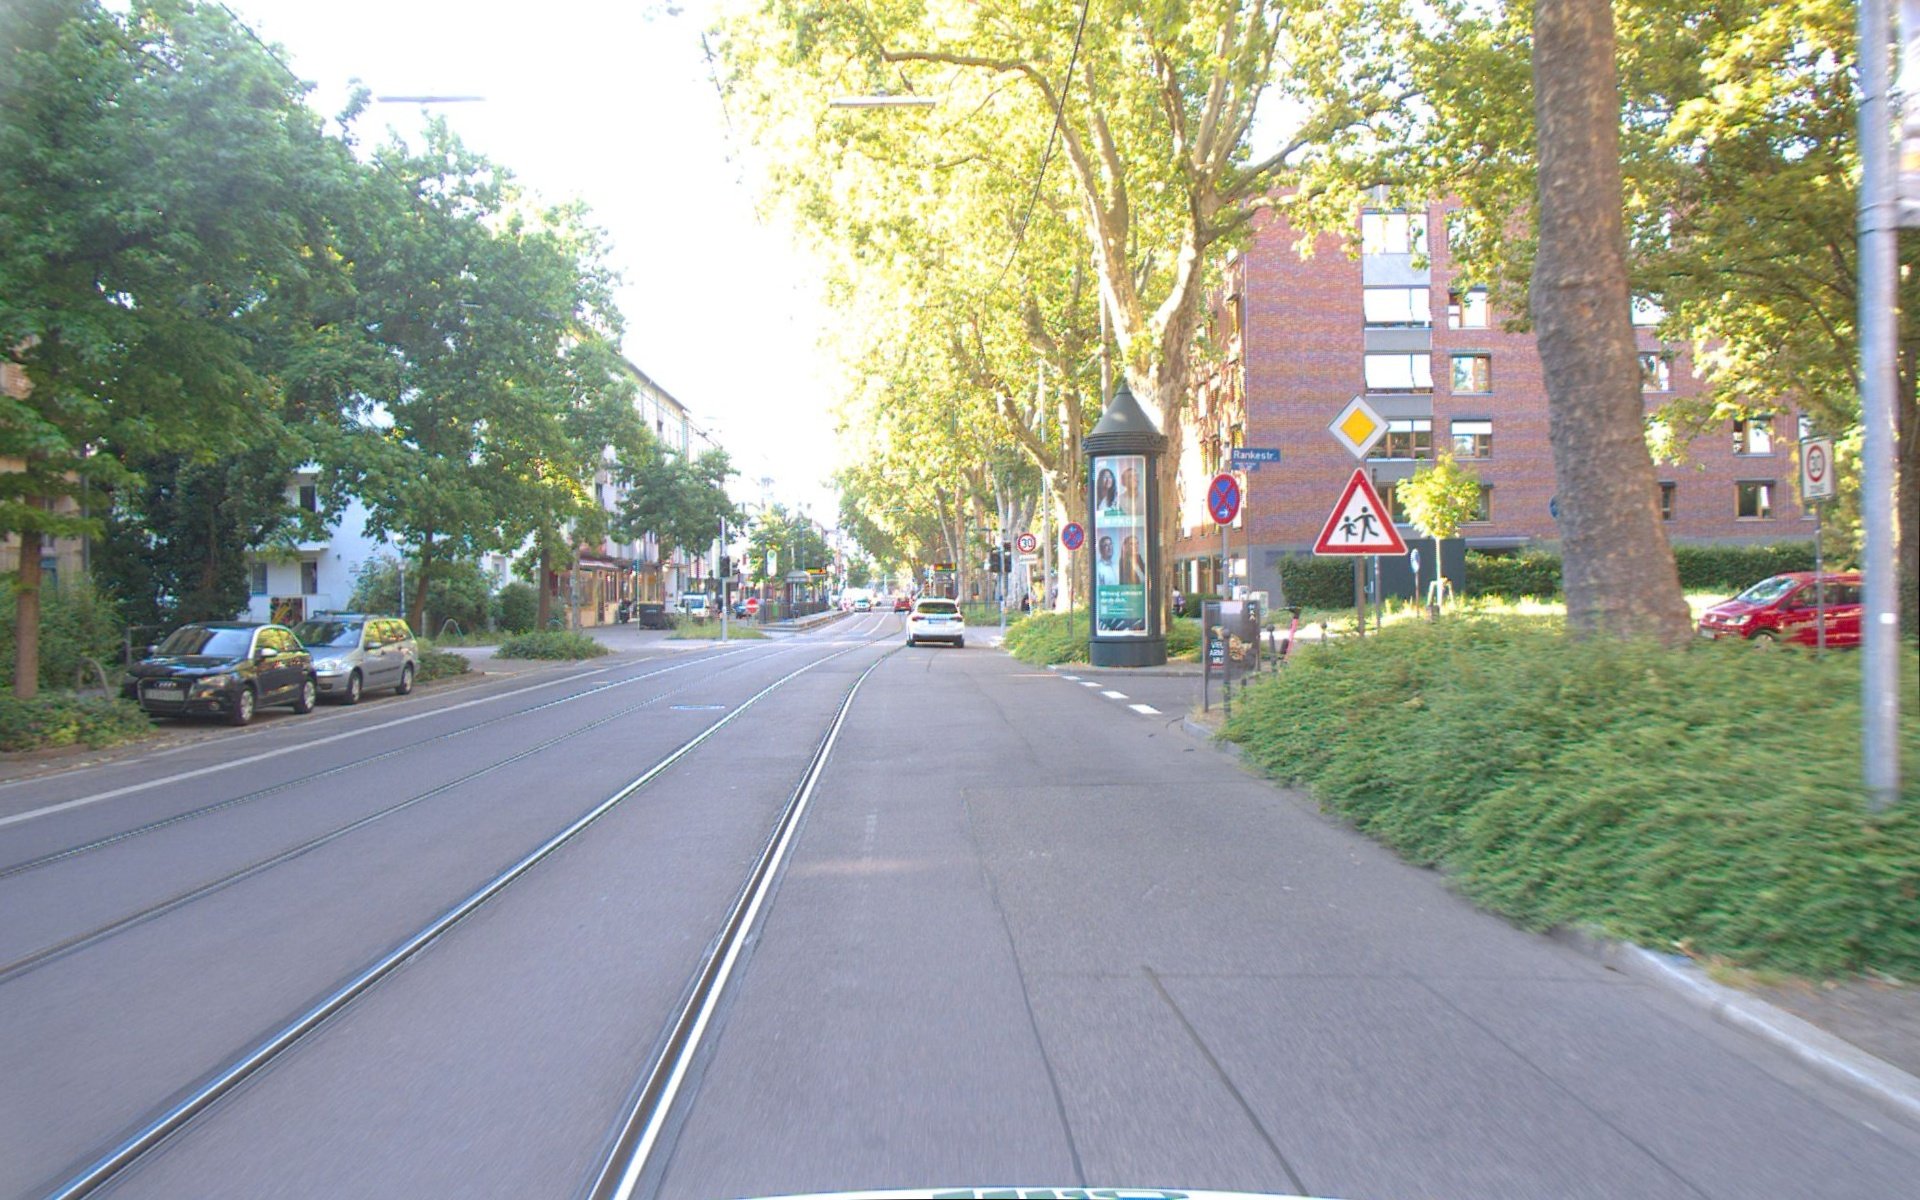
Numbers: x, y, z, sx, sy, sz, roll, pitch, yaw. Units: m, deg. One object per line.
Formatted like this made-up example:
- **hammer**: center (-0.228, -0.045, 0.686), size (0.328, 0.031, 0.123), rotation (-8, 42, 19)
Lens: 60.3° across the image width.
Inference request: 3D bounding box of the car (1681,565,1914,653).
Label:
- **car**: center (15.464, 0.150, 30.647), size (3.468, 1.477, 1.682), rotation (-2, 0, -5)

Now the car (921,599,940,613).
- **car**: center (-3.145, 0.642, 176.500), size (1.953, 1.478, 3.998), rotation (-1, 0, -2)

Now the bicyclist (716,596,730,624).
- **bicyclist**: center (-12.731, 0.515, 88.827), size (0.628, 1.480, 0.836), rotation (-2, 0, -3)

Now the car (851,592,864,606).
- **car**: center (-15.076, -0.118, 243.079), size (1.828, 1.925, 3.998), rotation (-1, 0, -2)

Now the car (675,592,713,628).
- **car**: center (-15.248, 0.557, 94.908), size (1.654, 1.974, 3.998), rotation (-1, 0, -2)

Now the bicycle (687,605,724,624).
- **bicycle**: center (-16.015, 0.908, 104.201), size (2.207, 1.093, 0.636), rotation (2, 0, -1)

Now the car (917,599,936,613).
- **car**: center (-3.653, 0.657, 181.565), size (1.953, 1.478, 3.998), rotation (-1, 0, -2)

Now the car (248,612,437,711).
- **car**: center (-11.063, 1.044, 29.991), size (1.664, 1.577, 4.536), rotation (-1, 0, 1)

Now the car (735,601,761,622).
- **car**: center (-16.233, 0.867, 126.786), size (1.561, 1.575, 3.998), rotation (1, 0, -2)

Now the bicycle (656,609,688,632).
- **bicycle**: center (-14.551, 1.047, 83.605), size (1.503, 1.094, 0.885), rotation (2, 0, -3)

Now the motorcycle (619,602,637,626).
- **motorcycle**: center (-18.760, 0.787, 93.524), size (0.587, 1.334, 2.221), rotation (-1, 0, -2)

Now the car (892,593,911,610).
- **car**: center (-5.422, 0.128, 153.524), size (1.752, 1.540, 3.998), rotation (-1, 0, -2)

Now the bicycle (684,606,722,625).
- **bicycle**: center (-15.639, 0.926, 100.714), size (2.207, 1.093, 0.636), rotation (2, 0, -1)

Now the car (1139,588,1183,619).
- **car**: center (10.156, 0.168, 83.792), size (1.569, 1.521, 3.414), rotation (-1, 0, -4)

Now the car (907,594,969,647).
- **car**: center (-0.719, 0.599, 50.918), size (1.752, 1.540, 3.998), rotation (-1, 0, -2)

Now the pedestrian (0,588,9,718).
- **pedestrian**: center (-14.263, 0.770, 23.826), size (0.727, 1.879, 0.728), rotation (0, 0, -4)

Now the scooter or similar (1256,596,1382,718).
- **scooter or similar**: center (3.878, 0.610, 17.905), size (1.184, 1.261, 0.569), rotation (-2, -1, -4)

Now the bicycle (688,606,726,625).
- **bicycle**: center (-15.659, 0.940, 102.361), size (2.207, 1.093, 0.636), rotation (2, 0, -1)

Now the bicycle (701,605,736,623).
- **bicycle**: center (-16.013, 0.946, 109.624), size (2.207, 1.093, 0.636), rotation (2, 0, -1)

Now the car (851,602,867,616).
- **car**: center (-10.926, 0.986, 179.139), size (1.660, 1.444, 3.998), rotation (-1, 0, -2)

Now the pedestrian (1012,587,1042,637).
- **pedestrian**: center (2.577, 0.458, 63.390), size (0.975, 1.842, 0.863), rotation (-2, 0, -8)

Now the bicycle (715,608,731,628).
- **bicycle**: center (-12.705, 0.952, 88.818), size (0.628, 1.004, 2.100), rotation (-2, 0, -3)

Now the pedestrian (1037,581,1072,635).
- **pedestrian**: center (3.491, 0.280, 61.243), size (0.964, 1.896, 1.014), rotation (-5, 0, -8)

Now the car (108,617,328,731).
- **car**: center (-10.856, 1.026, 24.496), size (1.625, 1.470, 3.947), rotation (-1, 0, -3)

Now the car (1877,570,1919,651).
- **car**: center (19.303, 0.130, 30.535), size (3.841, 1.477, 1.682), rotation (-2, 0, -5)

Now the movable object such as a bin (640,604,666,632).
- **movable object such as a bin**: center (-15.109, 0.884, 81.509), size (1.147, 1.372, 0.782), rotation (2, 0, -7)
